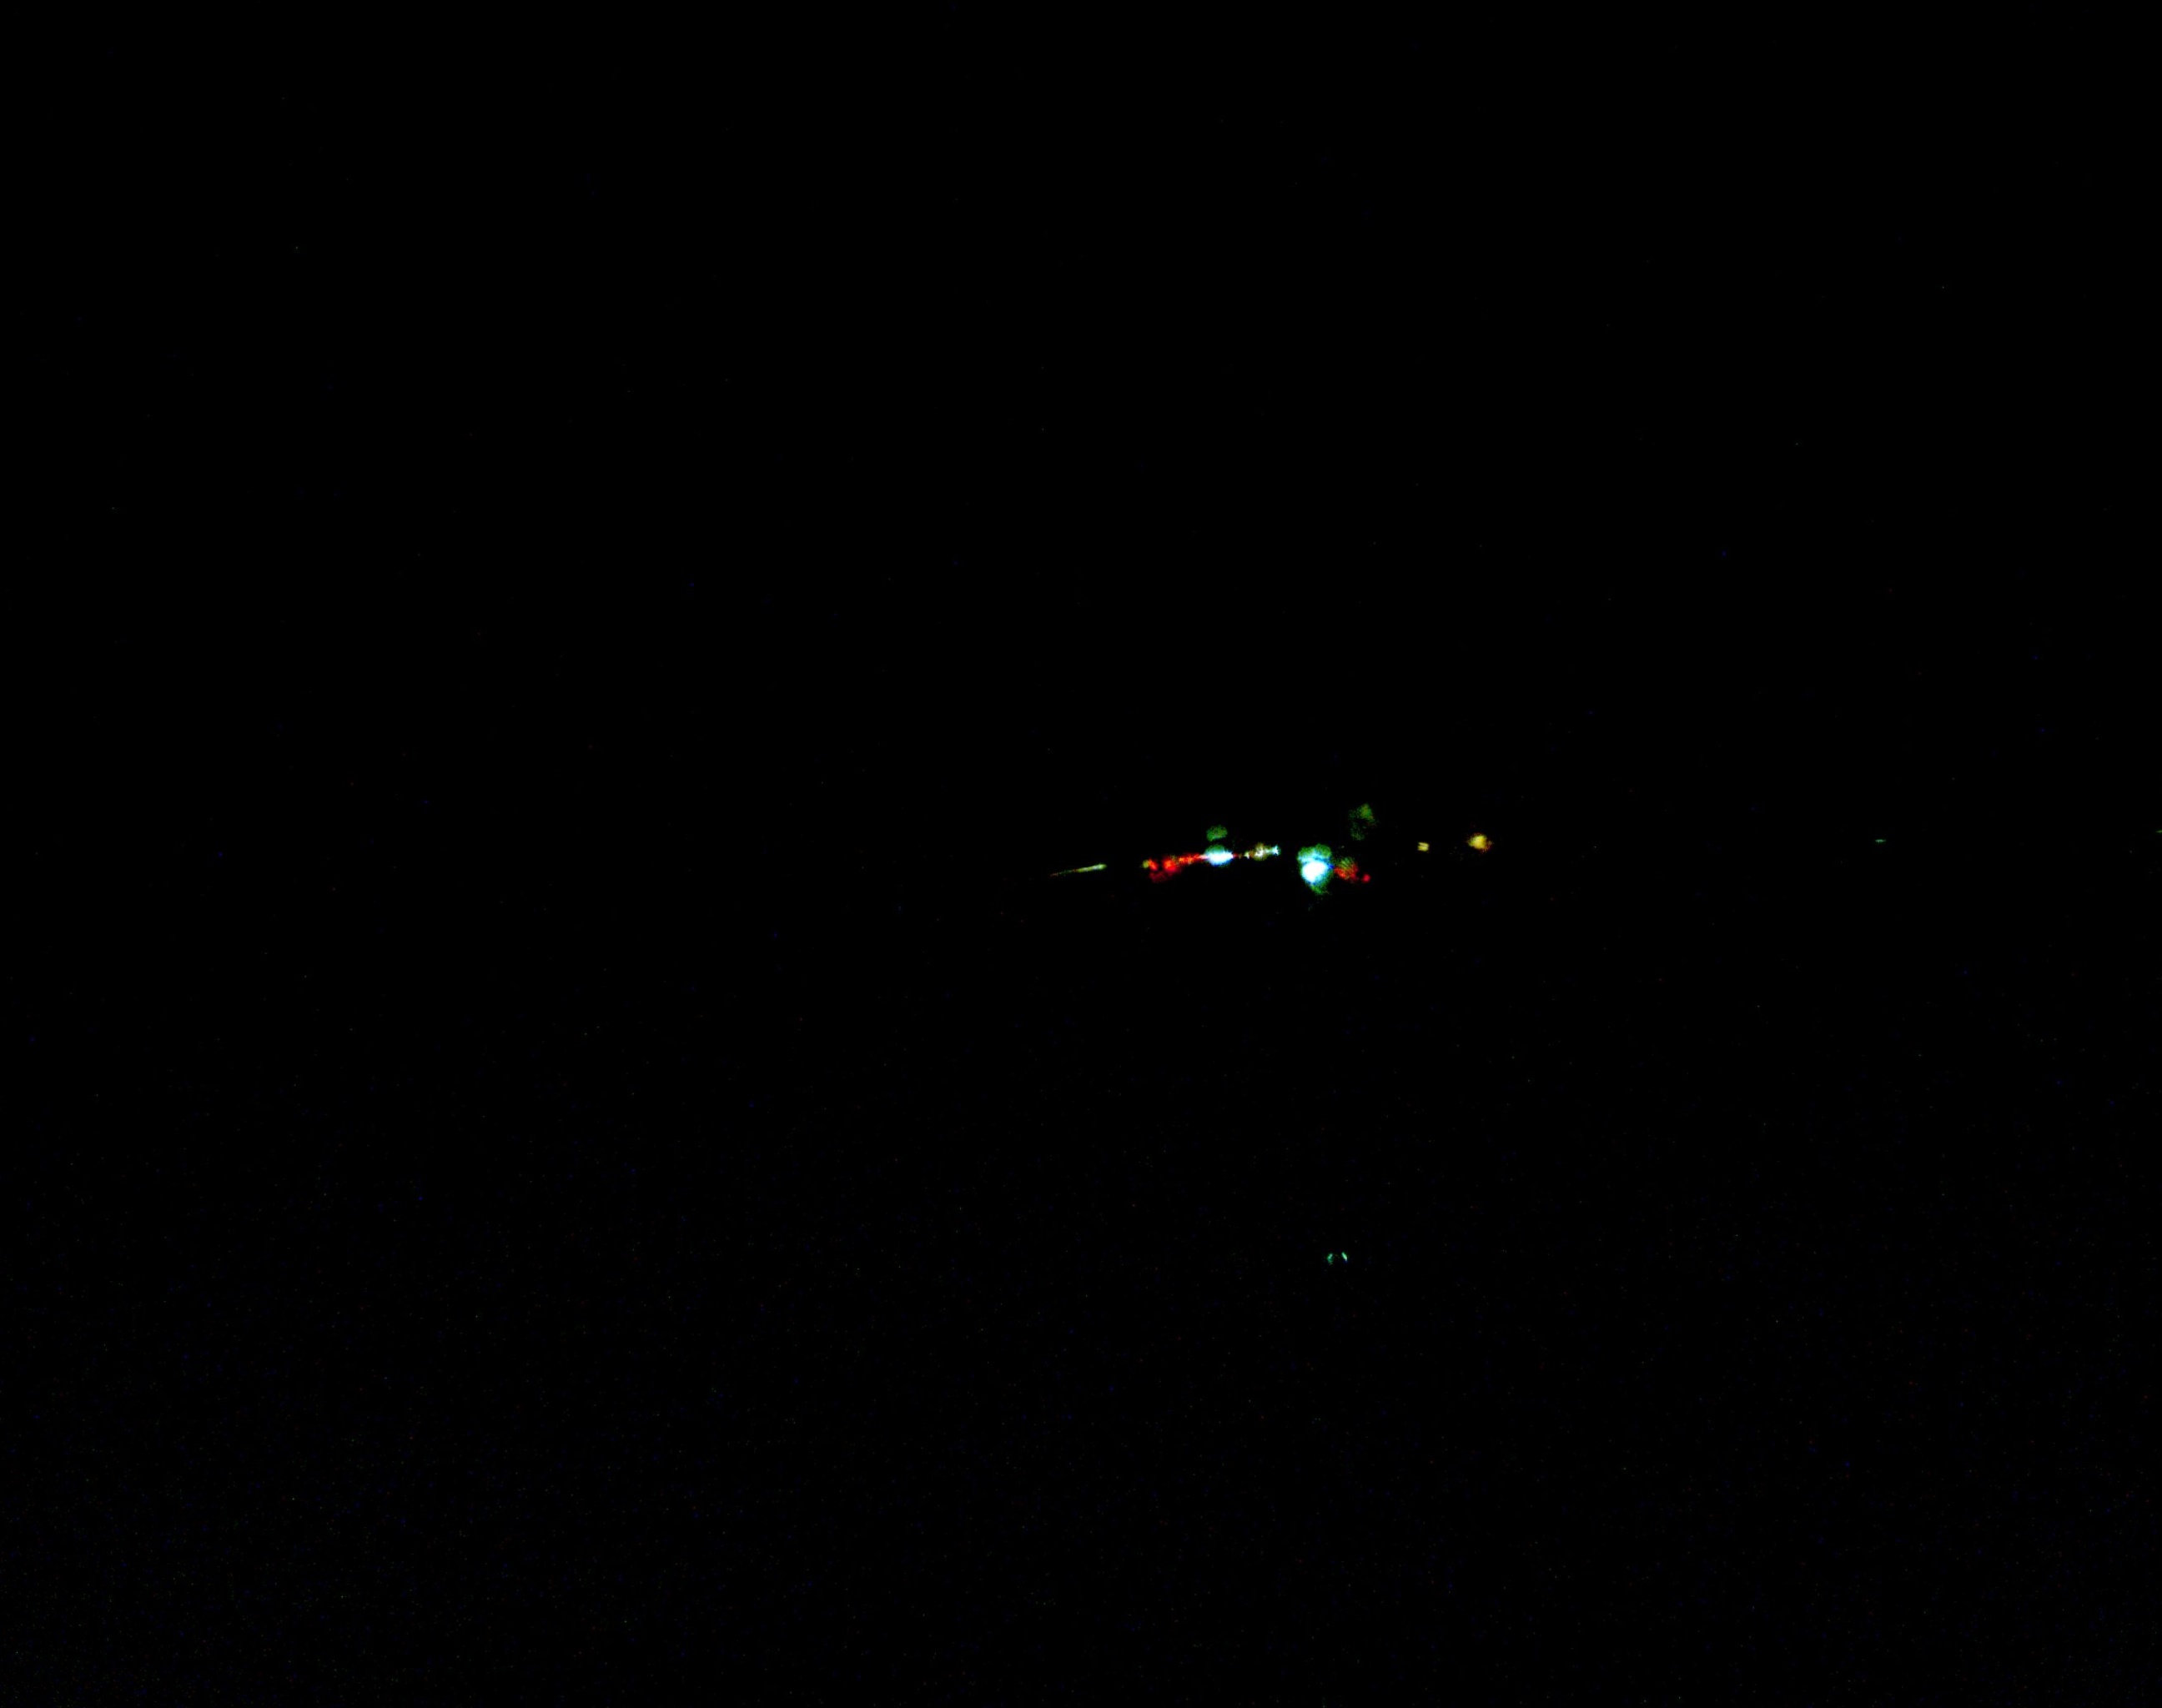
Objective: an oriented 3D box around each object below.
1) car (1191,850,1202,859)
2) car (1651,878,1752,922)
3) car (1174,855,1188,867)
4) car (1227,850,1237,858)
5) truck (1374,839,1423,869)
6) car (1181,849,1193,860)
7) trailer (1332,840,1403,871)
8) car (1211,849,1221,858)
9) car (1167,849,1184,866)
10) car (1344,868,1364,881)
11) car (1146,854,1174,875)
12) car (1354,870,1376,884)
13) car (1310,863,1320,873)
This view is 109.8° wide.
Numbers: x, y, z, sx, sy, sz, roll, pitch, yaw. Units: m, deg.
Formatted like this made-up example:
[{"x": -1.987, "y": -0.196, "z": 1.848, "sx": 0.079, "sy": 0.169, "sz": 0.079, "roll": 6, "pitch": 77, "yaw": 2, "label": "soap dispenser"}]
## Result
[{"x": 21.742, "y": 0.163, "z": 142.968, "sx": 1.820, "sy": 1.550, "sz": 4.181, "roll": -2, "pitch": 0, "yaw": 12, "label": "car"}, {"x": 32.693, "y": 2.382, "z": 40.184, "sx": 1.999, "sy": 2.002, "sz": 3.999, "roll": -2, "pitch": 0, "yaw": -1, "label": "car"}, {"x": 14.587, "y": 1.016, "z": 110.595, "sx": 1.802, "sy": 1.511, "sz": 4.538, "roll": -1, "pitch": 1, "yaw": 10, "label": "car"}, {"x": 40.621, "y": 0.014, "z": 204.407, "sx": 1.996, "sy": 1.795, "sz": 4.601, "roll": -2, "pitch": 0, "yaw": 19, "label": "car"}, {"x": 55.148, "y": -0.050, "z": 132.100, "sx": 7.322, "sy": 4.768, "sz": 3.333, "roll": -3, "pitch": 1, "yaw": -16, "label": "truck"}, {"x": 17.643, "y": 0.076, "z": 126.616, "sx": 1.690, "sy": 1.671, "sz": 3.470, "roll": -2, "pitch": 1, "yaw": 12, "label": "car"}, {"x": 49.278, "y": 0.203, "z": 130.552, "sx": 11.561, "sy": 4.768, "sz": 3.333, "roll": -2, "pitch": 1, "yaw": -16, "label": "trailer"}, {"x": 29.995, "y": -0.109, "z": 168.449, "sx": 1.791, "sy": 1.614, "sz": 4.378, "roll": -1, "pitch": 3, "yaw": 13, "label": "car"}, {"x": 12.207, "y": 0.460, "z": 98.156, "sx": 1.997, "sy": 2.063, "sz": 4.002, "roll": -2, "pitch": 0, "yaw": 7, "label": "car"}, {"x": 40.237, "y": 2.984, "z": 112.053, "sx": 1.811, "sy": 1.666, "sz": 4.295, "roll": -2, "pitch": 0, "yaw": 8, "label": "car"}, {"x": 6.691, "y": 0.841, "z": 64.739, "sx": 1.998, "sy": 1.604, "sz": 4.612, "roll": -2, "pitch": 0, "yaw": 2, "label": "car"}, {"x": 38.084, "y": 3.082, "z": 101.823, "sx": 1.812, "sy": 1.561, "sz": 4.295, "roll": -2, "pitch": 0, "yaw": 8, "label": "car"}, {"x": 46.482, "y": 2.782, "z": 151.041, "sx": 1.810, "sy": 1.666, "sz": 4.297, "roll": -2, "pitch": 0, "yaw": 16, "label": "car"}]
